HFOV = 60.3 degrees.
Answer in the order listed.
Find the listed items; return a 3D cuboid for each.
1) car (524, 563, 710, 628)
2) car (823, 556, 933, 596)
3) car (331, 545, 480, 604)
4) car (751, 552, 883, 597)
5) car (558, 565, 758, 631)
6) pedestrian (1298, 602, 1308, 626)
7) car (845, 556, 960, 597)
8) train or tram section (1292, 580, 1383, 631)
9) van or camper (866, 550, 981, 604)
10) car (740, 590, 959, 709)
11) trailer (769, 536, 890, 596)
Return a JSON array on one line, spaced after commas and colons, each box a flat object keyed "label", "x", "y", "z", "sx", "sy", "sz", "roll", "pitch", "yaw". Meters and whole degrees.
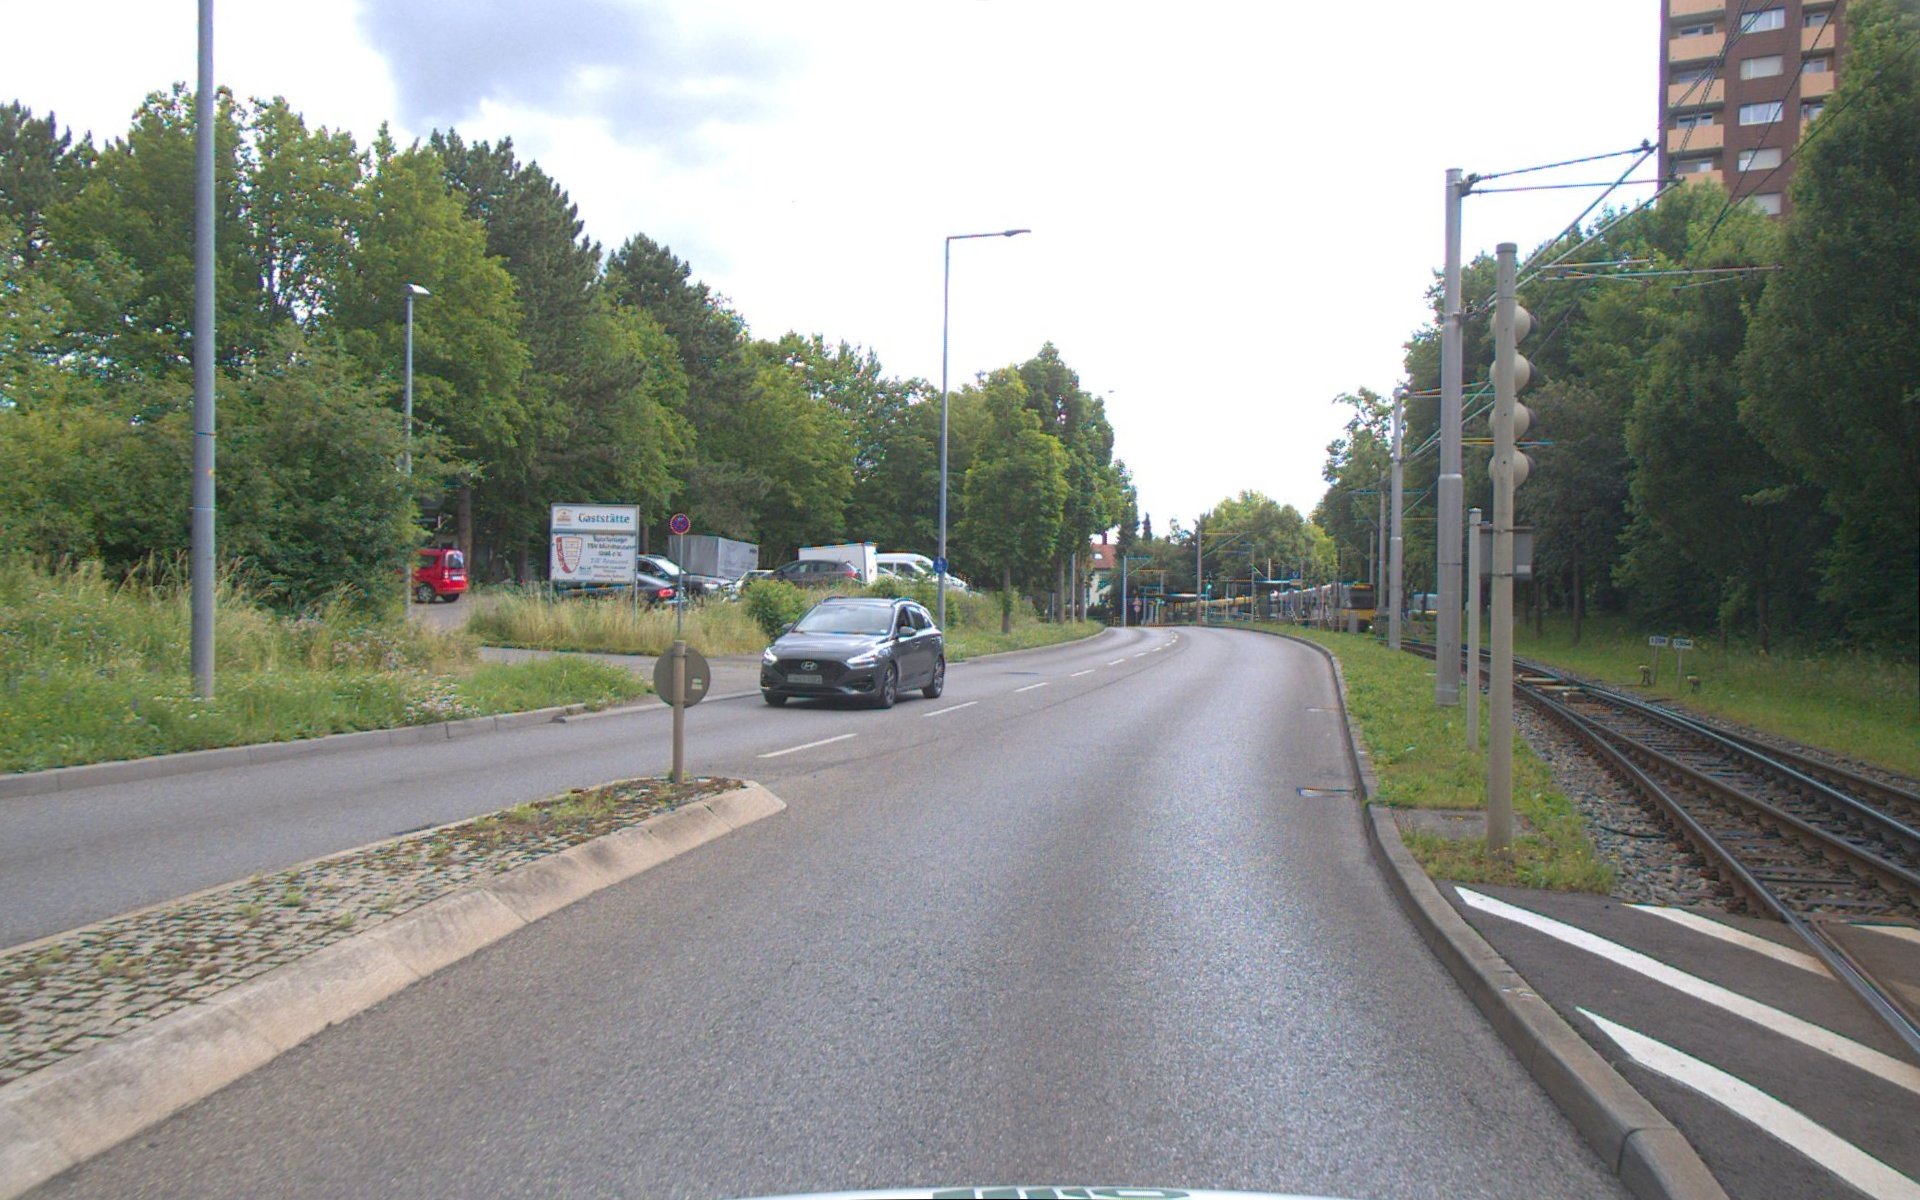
[{"label": "car", "x": -8.122, "y": -0.123, "z": 39.336, "sx": 3.870, "sy": 1.421, "sz": 2.002, "roll": 1, "pitch": 1, "yaw": 7}, {"label": "car", "x": -3.395, "y": -0.999, "z": 68.615, "sx": 4.218, "sy": 1.534, "sz": 2.002, "roll": 1, "pitch": 0, "yaw": 9}, {"label": "car", "x": -17.193, "y": -0.780, "z": 51.399, "sx": 3.903, "sy": 1.691, "sz": 2.001, "roll": 1, "pitch": 0, "yaw": 5}, {"label": "car", "x": -4.884, "y": -0.862, "z": 56.662, "sx": 4.220, "sy": 1.474, "sz": 1.837, "roll": -1, "pitch": 0, "yaw": 6}, {"label": "car", "x": -8.082, "y": -0.055, "z": 44.493, "sx": 4.821, "sy": 1.612, "sz": 2.209, "roll": 1, "pitch": 0, "yaw": 9}, {"label": "pedestrian", "x": 21.990, "y": 0.893, "z": 106.072, "sx": 0.555, "sy": 1.490, "sz": 0.596, "roll": 1, "pitch": 0, "yaw": 5}, {"label": "car", "x": -2.472, "y": -1.014, "z": 71.420, "sx": 4.544, "sy": 1.685, "sz": 2.001, "roll": 1, "pitch": 0, "yaw": 17}, {"label": "train or tram section", "x": 29.004, "y": 0.310, "z": 129.109, "sx": 2.944, "sy": 3.368, "sz": 34.736, "roll": 2, "pitch": 0, "yaw": 6}, {"label": "van or camper", "x": -1.596, "y": -1.010, "z": 73.843, "sx": 4.787, "sy": 2.241, "sz": 2.002, "roll": 2, "pitch": 1, "yaw": 9}, {"label": "car", "x": -1.446, "y": 0.620, "z": 23.587, "sx": 1.951, "sy": 1.463, "sz": 4.430, "roll": 2, "pitch": 1, "yaw": 12}, {"label": "trailer", "x": -4.693, "y": -1.219, "z": 59.723, "sx": 3.902, "sy": 2.049, "sz": 1.910, "roll": 1, "pitch": 0, "yaw": 12}]
